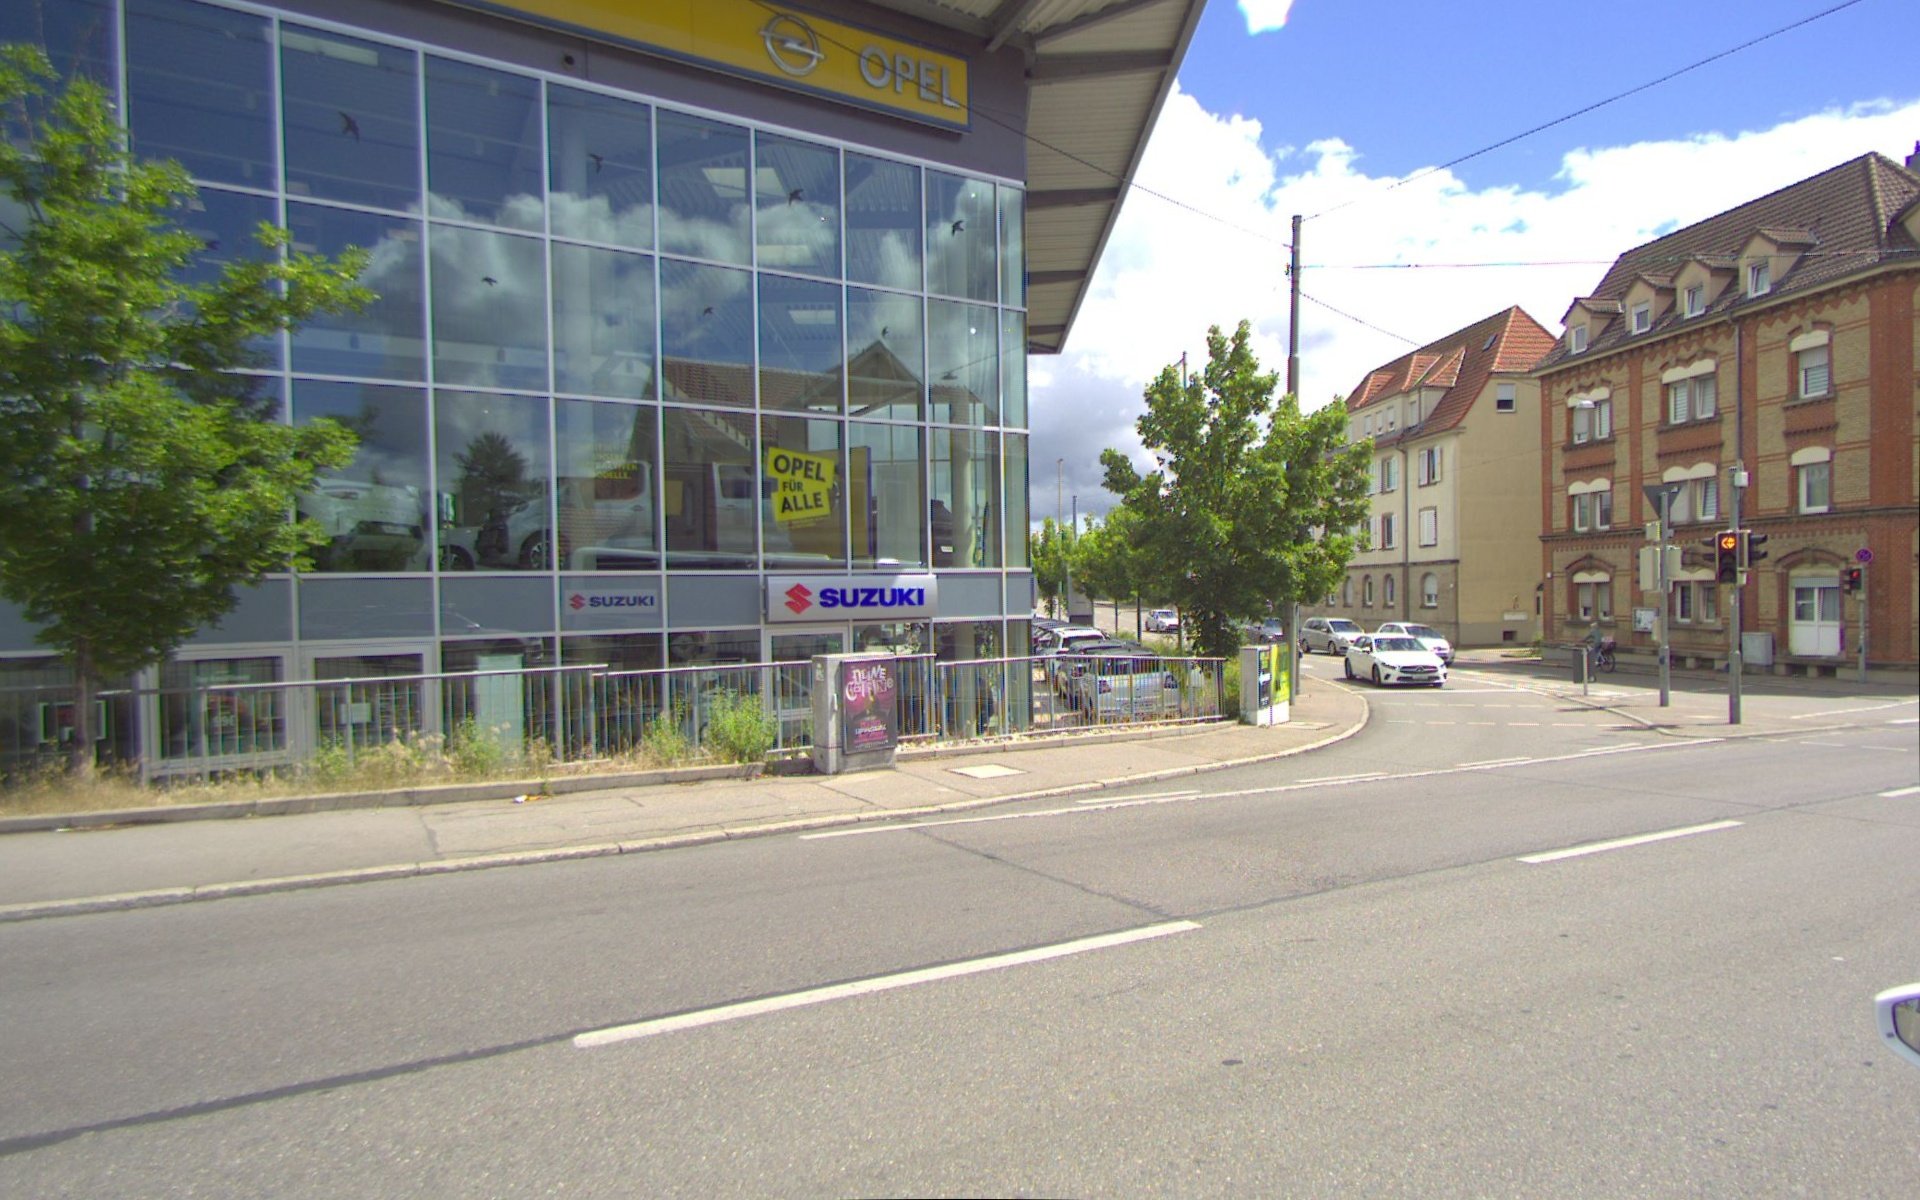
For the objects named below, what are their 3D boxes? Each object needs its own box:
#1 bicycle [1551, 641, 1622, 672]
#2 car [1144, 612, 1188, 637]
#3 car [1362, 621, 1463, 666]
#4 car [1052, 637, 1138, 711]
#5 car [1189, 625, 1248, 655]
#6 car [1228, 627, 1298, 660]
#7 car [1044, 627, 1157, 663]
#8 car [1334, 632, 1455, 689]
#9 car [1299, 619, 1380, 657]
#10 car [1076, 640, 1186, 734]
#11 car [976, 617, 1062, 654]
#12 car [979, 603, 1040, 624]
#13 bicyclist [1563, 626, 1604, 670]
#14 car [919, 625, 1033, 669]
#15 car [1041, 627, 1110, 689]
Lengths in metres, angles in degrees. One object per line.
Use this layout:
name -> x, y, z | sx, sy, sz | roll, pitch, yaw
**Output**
bicycle -> 21.928, 1.965, 35.216 | 0.597, 1.033, 2.181 | 1, -1, -21
car -> 14.105, 1.633, 68.975 | 1.961, 1.607, 4.345 | 1, 0, -2
car -> 17.061, 1.608, 38.081 | 1.670, 1.517, 3.995 | 1, -1, -7
car -> 3.230, 1.756, 24.692 | 1.487, 1.543, 3.792 | 1, -1, -2
car -> 14.891, 2.283, 58.051 | 1.963, 1.664, 3.996 | 1, -1, -7
car -> 15.331, 2.185, 51.013 | 1.963, 1.539, 3.996 | 1, -1, -7
car -> 5.165, 1.635, 37.203 | 3.921, 1.202, 1.818 | 1, -1, 0
car -> 12.366, 1.683, 28.894 | 1.825, 1.466, 4.393 | 1, -1, 4
car -> 16.734, 1.642, 44.506 | 1.715, 1.539, 3.996 | 1, -1, -7
car -> 3.395, 1.690, 20.543 | 1.720, 1.596, 3.687 | 2, -1, 2
car -> 2.646, 1.588, 45.861 | 1.974, 1.599, 4.476 | 1, -1, -26
car -> 3.254, 0.893, 66.372 | 3.921, 1.311, 1.818 | 1, -1, 0
bicyclist -> 21.904, 1.663, 35.298 | 0.581, 1.519, 1.069 | 1, -1, -21
car -> 0.609, 1.718, 37.242 | 3.919, 1.478, 1.605 | 1, -1, 15
car -> 3.279, 1.635, 29.086 | 1.487, 1.596, 3.414 | 1, -1, -2
